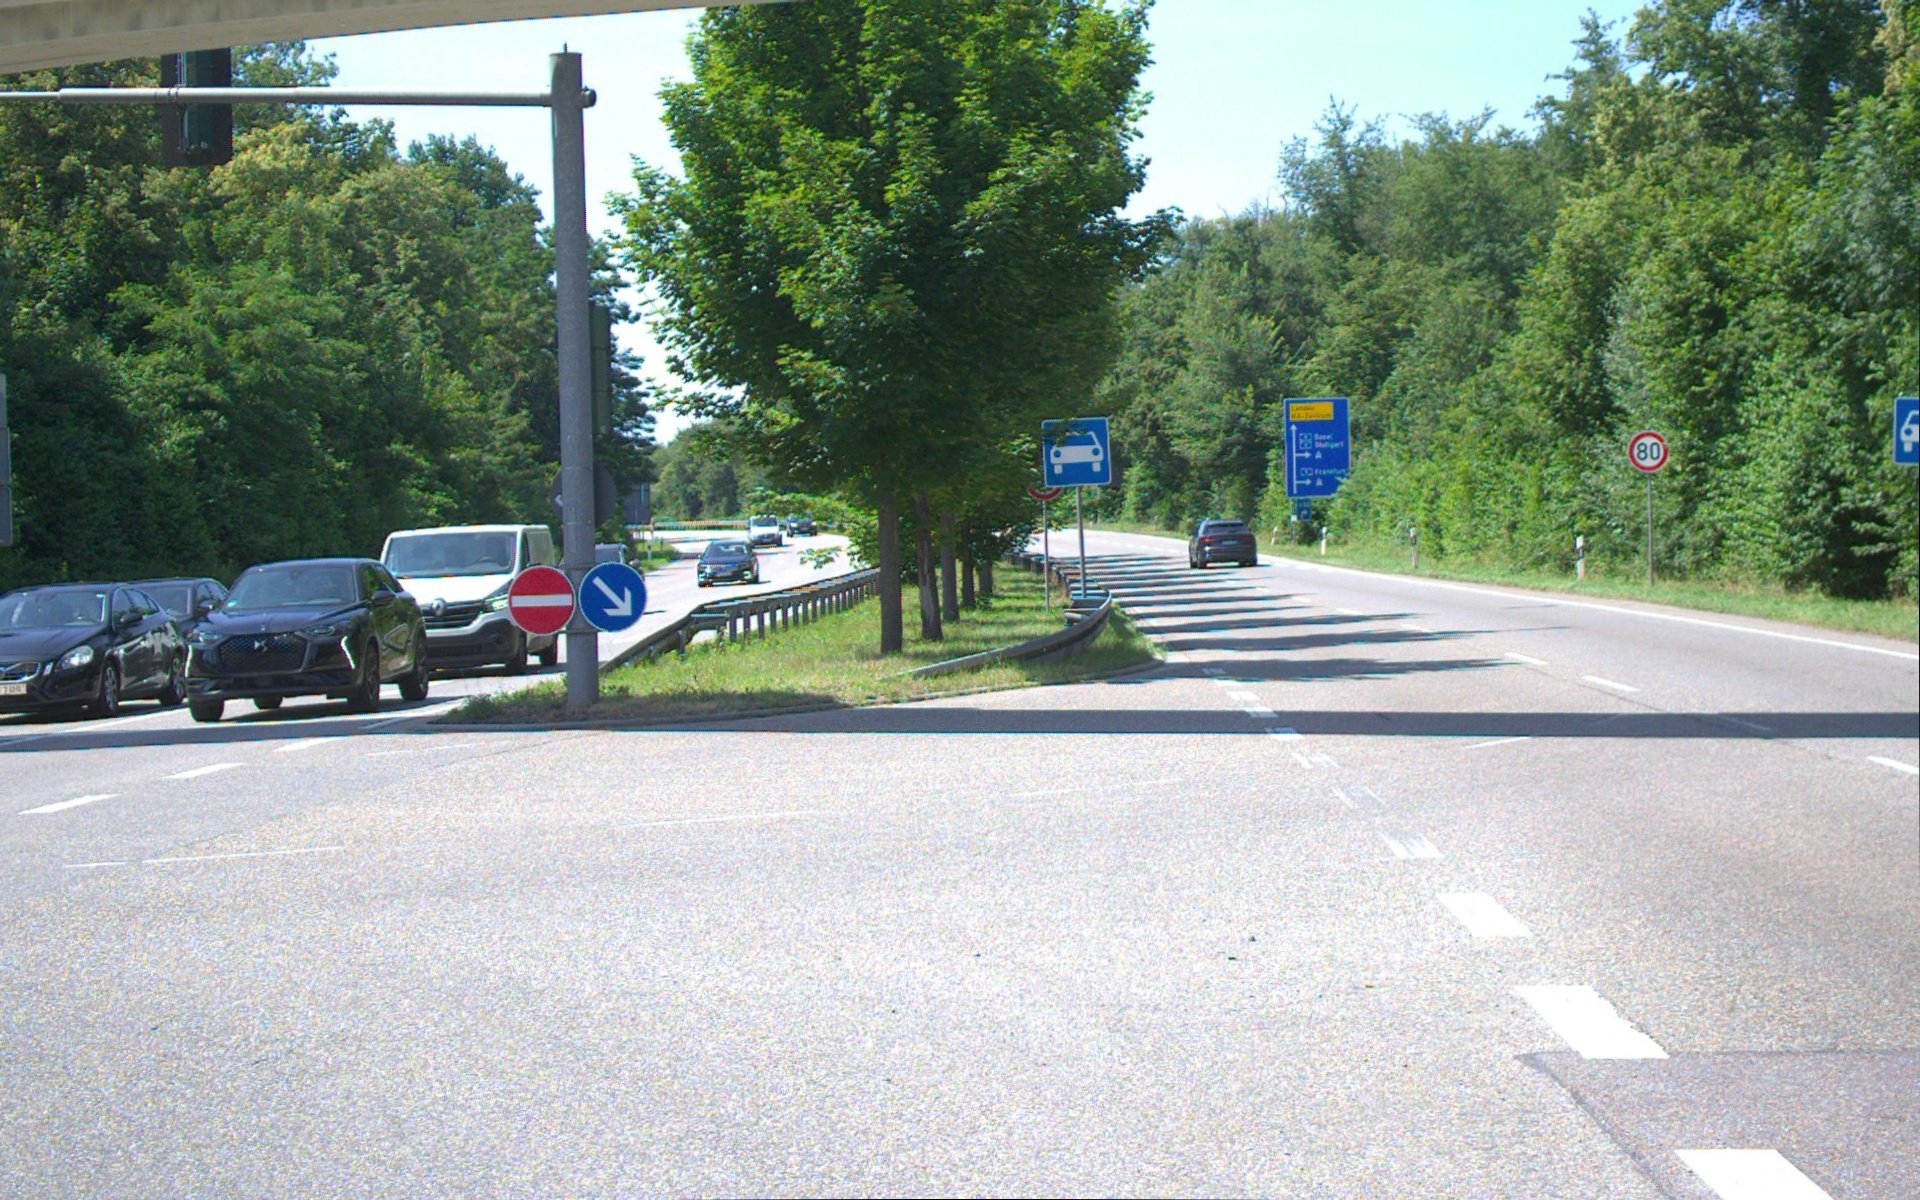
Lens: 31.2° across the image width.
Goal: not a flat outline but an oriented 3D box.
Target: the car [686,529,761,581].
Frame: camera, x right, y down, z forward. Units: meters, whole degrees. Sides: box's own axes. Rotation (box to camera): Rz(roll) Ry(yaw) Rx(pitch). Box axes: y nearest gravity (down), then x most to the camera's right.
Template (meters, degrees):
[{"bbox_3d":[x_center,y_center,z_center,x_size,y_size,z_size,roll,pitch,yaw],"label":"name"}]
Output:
[{"bbox_3d":[-7.853,-1.493,114.635,2.008,1.596,4.055,-3,0,2],"label":"car"}]

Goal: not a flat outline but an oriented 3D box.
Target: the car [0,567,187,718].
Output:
[{"bbox_3d":[-9.853,0.440,36.876,2.008,1.455,4.055,-3,1,2],"label":"car"}]

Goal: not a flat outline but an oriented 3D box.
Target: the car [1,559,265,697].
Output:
[{"bbox_3d":[-9.892,0.301,41.434,2.008,1.455,4.055,-3,1,2],"label":"car"}]

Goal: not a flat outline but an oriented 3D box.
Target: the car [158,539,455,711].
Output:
[{"bbox_3d":[-6.434,0.202,34.278,1.994,1.518,4.028,-3,1,2],"label":"car"}]

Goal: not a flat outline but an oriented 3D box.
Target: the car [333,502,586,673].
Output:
[{"bbox_3d":[-6.393,-0.205,44.622,2.208,1.986,5.488,-3,1,2],"label":"car"}]

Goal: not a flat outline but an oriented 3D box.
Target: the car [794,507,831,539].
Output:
[{"bbox_3d":[-9.776,-5.098,227.644,1.993,2.007,4.001,0,0,-10],"label":"car"}]

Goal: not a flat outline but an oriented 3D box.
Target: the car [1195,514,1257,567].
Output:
[{"bbox_3d":[9.066,-2.036,117.100,2.042,1.693,5.086,-1,2,5],"label":"car"}]

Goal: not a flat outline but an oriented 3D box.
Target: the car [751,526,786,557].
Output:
[{"bbox_3d":[-11.170,-3.403,200.548,1.993,1.744,4.001,0,0,-4],"label":"car"}]
